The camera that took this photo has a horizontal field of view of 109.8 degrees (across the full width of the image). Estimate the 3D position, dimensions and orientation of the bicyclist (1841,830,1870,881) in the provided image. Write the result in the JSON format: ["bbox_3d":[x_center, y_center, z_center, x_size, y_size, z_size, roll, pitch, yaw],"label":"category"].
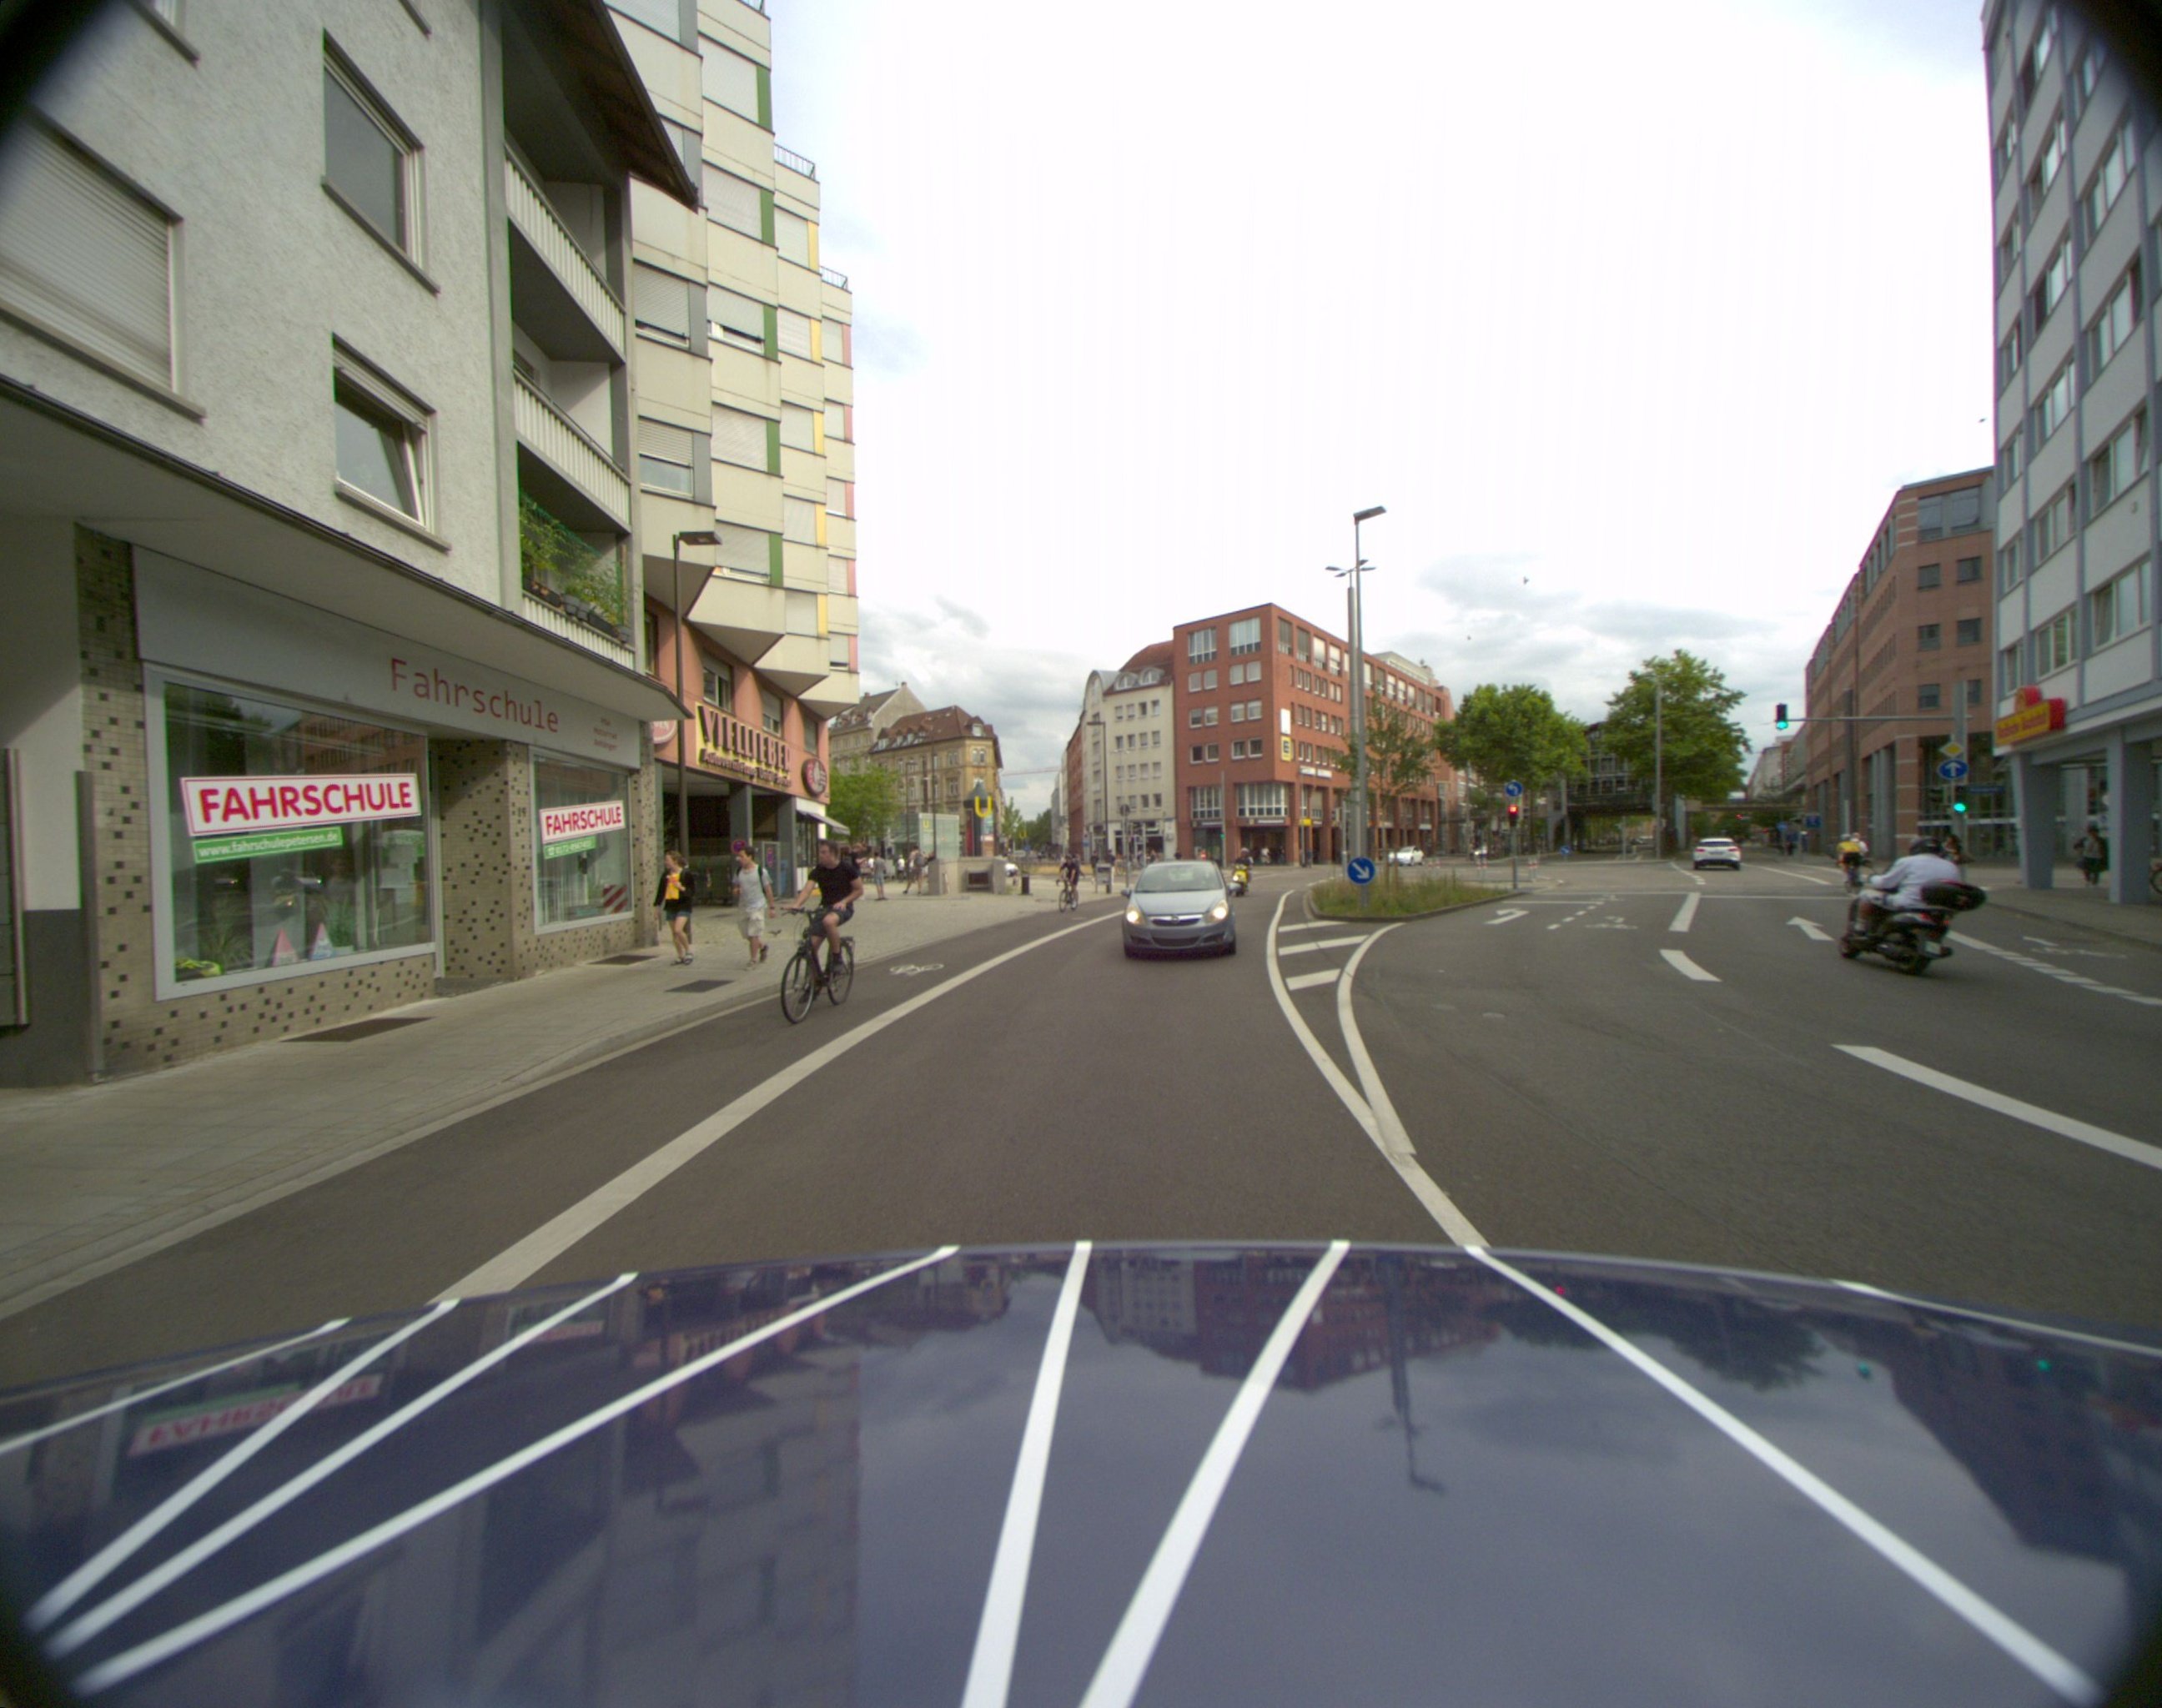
[{"bbox_3d":[25.412,0.048,24.934,0.608,1.636,1.039,0,1,43],"label":"bicyclist"}]

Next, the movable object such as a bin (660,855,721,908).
[{"bbox_3d":[-11.447,0.785,22.318,1.197,1.507,1.196,-1,1,-6],"label":"movable object such as a bin"}]

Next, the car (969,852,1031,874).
[{"bbox_3d":[-6.075,0.660,56.666,4.590,1.503,2.004,0,2,41],"label":"car"}]

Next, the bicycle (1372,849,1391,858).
[{"bbox_3d":[33.300,-0.070,84.285,1.855,1.034,0.508,-1,1,41],"label":"bicycle"}]

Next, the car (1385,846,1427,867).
[{"bbox_3d":[26.353,0.169,61.502,1.953,1.592,4.008,-1,1,41],"label":"car"}]

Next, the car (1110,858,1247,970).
[{"bbox_3d":[1.777,0.869,12.634,1.721,1.394,4.003,-4,0,14],"label":"car"}]

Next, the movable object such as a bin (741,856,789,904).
[{"bbox_3d":[-10.363,0.850,24.961,1.146,1.507,1.088,-1,1,-6],"label":"movable object such as a bin"}]

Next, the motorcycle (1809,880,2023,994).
[{"bbox_3d":[9.806,0.912,9.062,0.722,1.088,2.038,1,1,15],"label":"motorcycle"}]

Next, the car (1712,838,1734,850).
[{"bbox_3d":[110.866,-1.751,131.259,2.503,1.936,5.102,-1,1,35],"label":"car"}]

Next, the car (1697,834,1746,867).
[{"bbox_3d":[34.072,-0.205,40.388,1.833,1.650,4.333,-1,1,43],"label":"car"}]

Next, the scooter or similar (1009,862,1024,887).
[{"bbox_3d":[-3.208,1.011,37.666,0.286,1.205,1.127,-1,1,17],"label":"scooter or similar"}]

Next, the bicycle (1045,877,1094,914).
[{"bbox_3d":[-0.324,1.232,22.726,0.488,0.994,1.751,-2,0,36],"label":"bicycle"}]

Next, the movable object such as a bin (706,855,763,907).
[{"bbox_3d":[-10.232,0.777,22.472,1.148,1.452,1.223,-1,1,-6],"label":"movable object such as a bin"}]

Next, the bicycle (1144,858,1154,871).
[{"bbox_3d":[5.039,0.788,56.266,0.543,0.945,1.807,-1,0,1],"label":"bicycle"}]

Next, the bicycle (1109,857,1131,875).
[{"bbox_3d":[2.631,0.810,51.461,0.397,1.104,1.834,-1,1,41],"label":"bicycle"}]

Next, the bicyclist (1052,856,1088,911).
[{"bbox_3d":[-0.321,0.868,22.721,0.612,1.594,0.848,-3,0,36],"label":"bicyclist"}]

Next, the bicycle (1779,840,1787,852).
[{"bbox_3d":[69.209,-0.767,74.885,0.546,1.111,1.593,-1,0,41],"label":"bicycle"}]

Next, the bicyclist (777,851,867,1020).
[{"bbox_3d":[-2.742,0.829,8.114,0.559,1.699,0.863,-1,1,5],"label":"bicyclist"}]

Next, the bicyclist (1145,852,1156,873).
[{"bbox_3d":[5.167,0.630,56.367,0.745,1.550,0.946,-1,1,2],"label":"bicyclist"}]

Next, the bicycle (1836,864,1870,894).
[{"bbox_3d":[22.482,0.702,22.138,0.409,0.790,2.002,-1,1,37],"label":"bicycle"}]

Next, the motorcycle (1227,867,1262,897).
[{"bbox_3d":[5.870,0.992,27.166,0.569,0.962,2.018,-1,1,31],"label":"motorcycle"}]

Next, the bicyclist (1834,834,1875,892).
[{"bbox_3d":[22.420,0.252,22.035,0.712,1.640,0.973,-1,1,39],"label":"bicyclist"}]

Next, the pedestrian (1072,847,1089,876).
[{"bbox_3d":[-0.050,0.495,49.303,0.639,1.843,0.879,-1,1,40],"label":"pedestrian"}]

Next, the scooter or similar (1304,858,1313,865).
[{"bbox_3d":[19.347,0.627,64.731,0.507,0.570,0.817,-1,1,33],"label":"scooter or similar"}]

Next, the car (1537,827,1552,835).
[{"bbox_3d":[93.048,-4.574,152.478,1.953,1.592,4.008,-1,1,41],"label":"car"}]

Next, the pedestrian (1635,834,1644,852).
[{"bbox_3d":[49.521,-0.960,67.373,0.657,1.529,0.559,-1,3,36],"label":"pedestrian"}]

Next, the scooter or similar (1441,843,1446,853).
[{"bbox_3d":[48.484,-0.833,101.664,0.272,1.250,0.923,-1,1,41],"label":"scooter or similar"}]

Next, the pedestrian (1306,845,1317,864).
[{"bbox_3d":[19.840,0.030,65.359,0.639,1.677,0.601,-1,1,40],"label":"pedestrian"}]

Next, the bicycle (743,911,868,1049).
[{"bbox_3d":[-2.825,1.239,8.011,0.406,1.115,2.018,-2,0,4],"label":"bicycle"}]

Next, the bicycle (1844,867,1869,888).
[{"bbox_3d":[25.355,0.757,24.843,0.484,0.585,2.002,-1,1,43],"label":"bicycle"}]

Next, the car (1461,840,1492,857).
[{"bbox_3d":[41.523,-0.590,79.700,1.953,1.592,4.008,-1,1,41],"label":"car"}]
